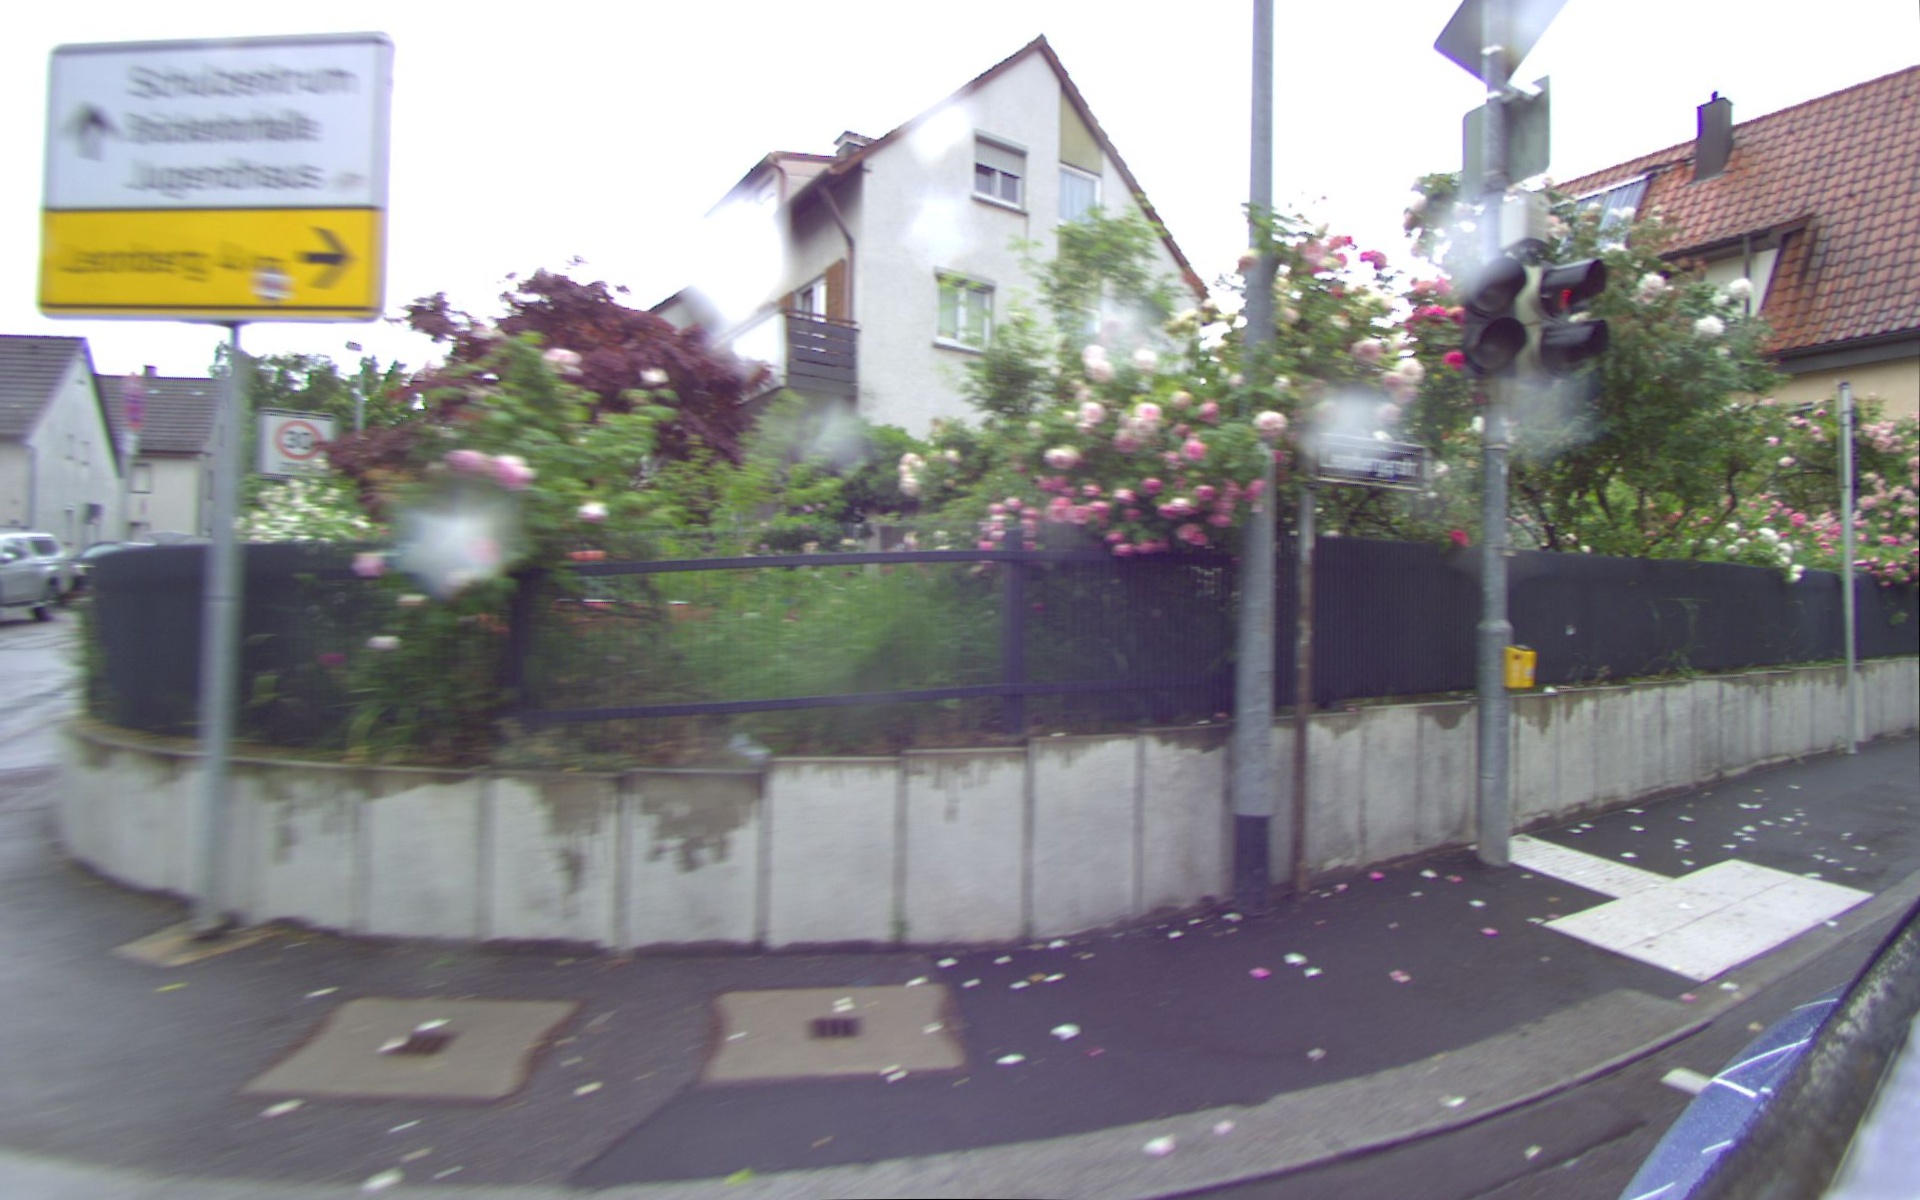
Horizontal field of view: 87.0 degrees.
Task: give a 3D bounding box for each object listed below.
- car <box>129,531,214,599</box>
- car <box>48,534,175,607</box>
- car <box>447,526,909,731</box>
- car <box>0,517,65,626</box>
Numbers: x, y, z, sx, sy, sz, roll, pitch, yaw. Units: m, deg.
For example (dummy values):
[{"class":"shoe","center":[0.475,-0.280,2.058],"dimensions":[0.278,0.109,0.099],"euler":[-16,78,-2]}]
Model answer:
[{"class":"car","center":[-26.128,-1.147,33.657],"dimensions":[1.677,2.128,3.945],"euler":[0,1,-30]},{"class":"car","center":[-23.284,-0.806,27.959],"dimensions":[1.791,1.819,4.524],"euler":[1,1,-28]},{"class":"car","center":[-2.644,0.248,9.774],"dimensions":[3.922,1.619,1.722],"euler":[2,1,-33]},{"class":"car","center":[-18.863,-0.564,19.039],"dimensions":[1.791,2.000,4.525],"euler":[1,1,-25]}]
